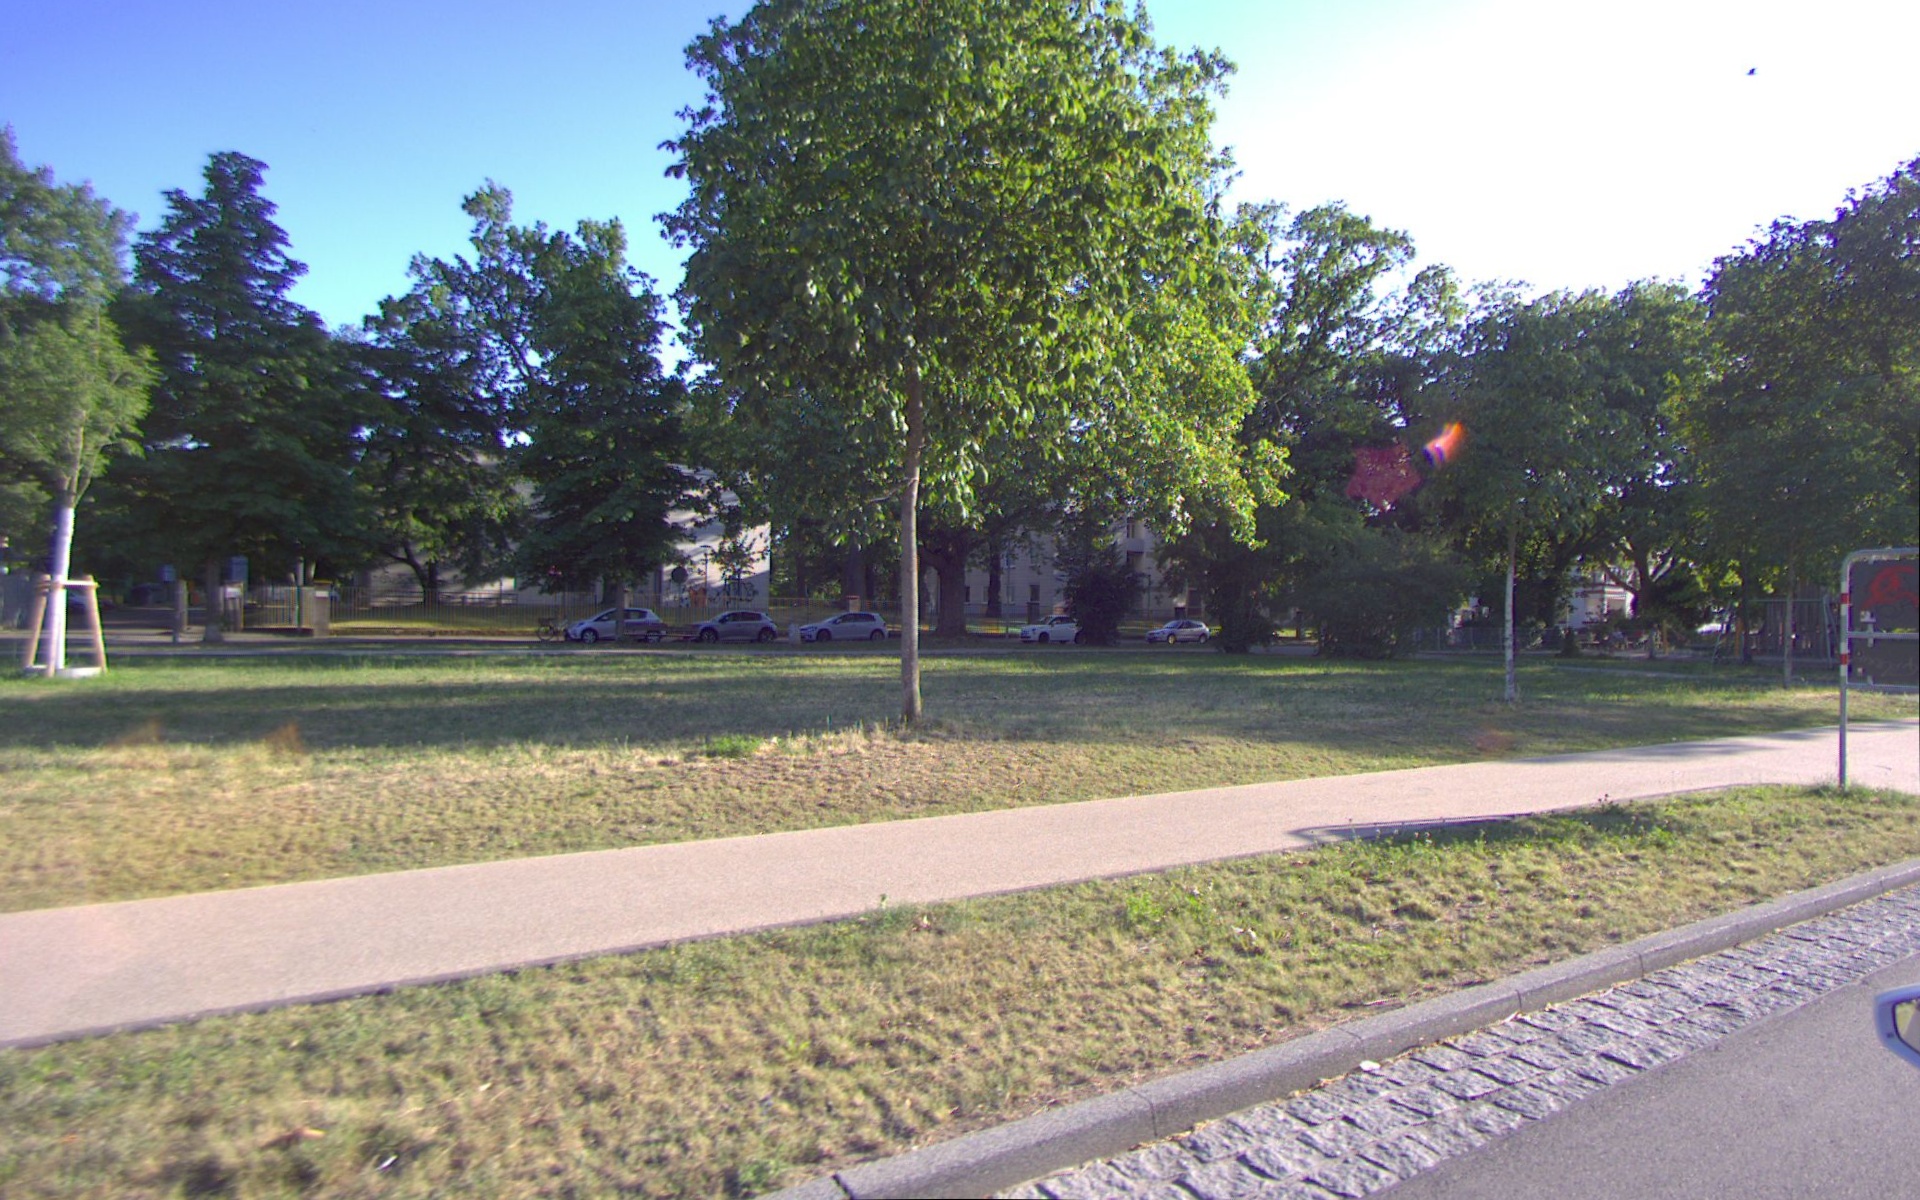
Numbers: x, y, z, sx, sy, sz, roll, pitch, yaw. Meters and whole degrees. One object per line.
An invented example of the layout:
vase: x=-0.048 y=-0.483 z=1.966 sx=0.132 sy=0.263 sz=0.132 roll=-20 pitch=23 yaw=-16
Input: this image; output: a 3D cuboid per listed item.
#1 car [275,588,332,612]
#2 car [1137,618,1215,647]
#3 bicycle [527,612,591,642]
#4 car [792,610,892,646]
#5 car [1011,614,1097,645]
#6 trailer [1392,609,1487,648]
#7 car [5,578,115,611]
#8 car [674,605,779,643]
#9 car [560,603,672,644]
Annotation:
car: x=-62.418 y=0.028 z=95.529 sx=1.602 sy=2.085 sz=4.243 roll=0 pitch=-2 yaw=29
car: x=12.238 y=1.847 z=56.821 sx=4.068 sy=1.528 sz=1.984 roll=2 pitch=-2 yaw=-31
bicycle: x=-16.383 y=1.096 z=41.058 sx=2.310 sy=1.191 sz=0.653 roll=2 pitch=-2 yaw=-34
car: x=-5.348 y=1.290 z=45.741 sx=4.068 sy=1.528 sz=1.984 roll=2 pitch=-2 yaw=-31
car: x=4.865 y=1.530 z=51.906 sx=4.068 sy=1.528 sz=1.984 roll=2 pitch=-2 yaw=-31
trailer: x=33.023 y=1.965 z=69.082 sx=6.968 sy=2.521 sz=2.447 roll=2 pitch=-2 yaw=-31
car: x=-49.367 y=-0.261 z=55.215 sx=4.202 sy=1.670 sz=1.618 roll=2 pitch=-2 yaw=-32
car: x=-10.013 y=1.041 z=43.058 sx=3.954 sy=1.528 sz=1.984 roll=2 pitch=-2 yaw=-31
car: x=-13.901 y=0.972 z=40.593 sx=3.954 sy=1.528 sz=1.984 roll=2 pitch=-2 yaw=-31
